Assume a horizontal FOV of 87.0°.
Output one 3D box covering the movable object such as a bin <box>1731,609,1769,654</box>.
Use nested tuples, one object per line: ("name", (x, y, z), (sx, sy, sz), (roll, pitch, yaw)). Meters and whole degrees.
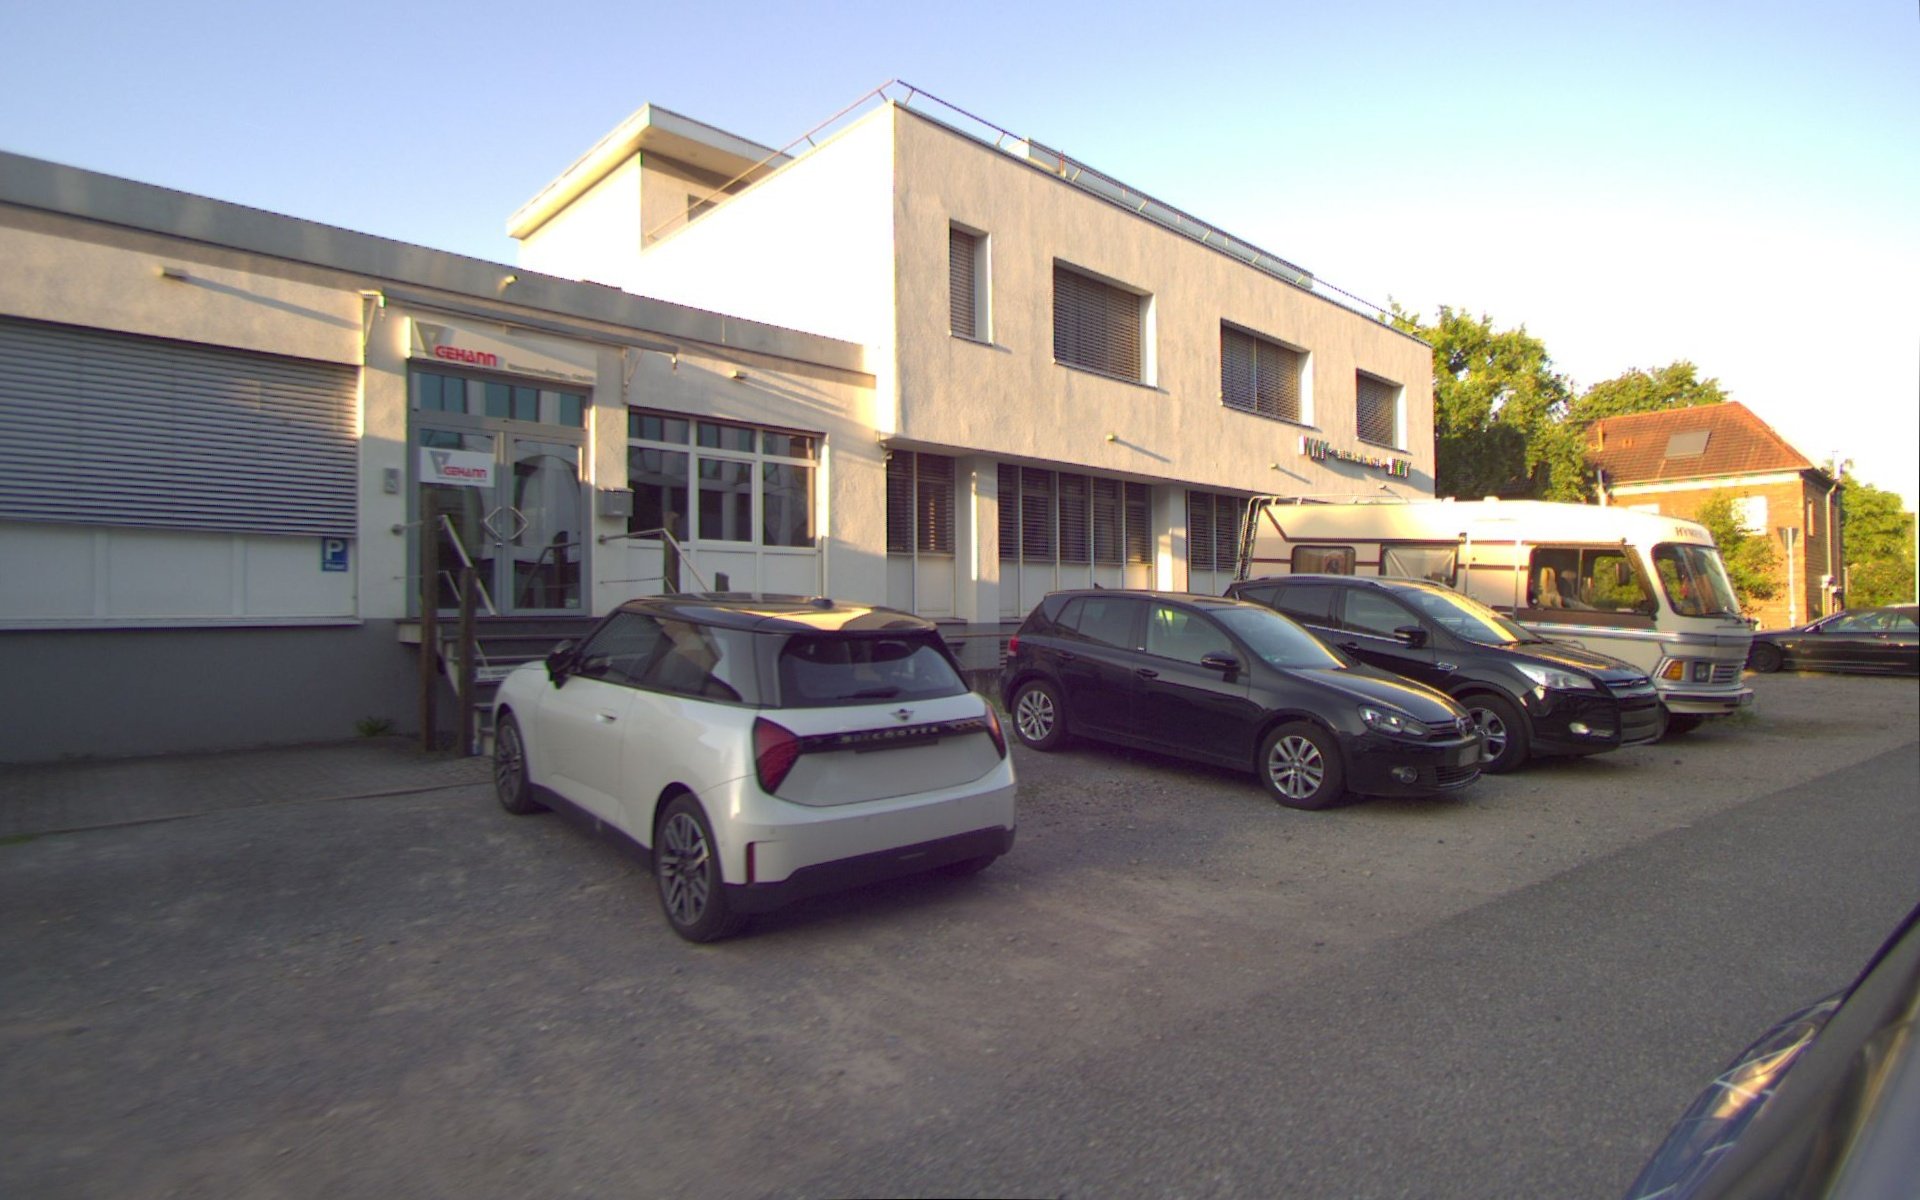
("movable object such as a bin", (18.778, 0.745, 24.046), (0.642, 1.034, 0.701), (-2, -1, 42))

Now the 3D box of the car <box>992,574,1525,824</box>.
("car", (2.266, 0.613, 8.476), (1.683, 1.583, 4.008), (0, 0, -43))

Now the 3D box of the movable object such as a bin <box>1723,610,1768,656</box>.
("movable object such as a bin", (18.267, 0.750, 23.535), (0.755, 1.034, 0.701), (-2, -1, 42))

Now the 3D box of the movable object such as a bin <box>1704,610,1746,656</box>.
("movable object such as a bin", (17.606, 0.754, 23.293), (0.704, 1.034, 0.701), (-2, -1, 42))

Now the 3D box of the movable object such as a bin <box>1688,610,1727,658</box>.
("movable object such as a bin", (16.486, 0.742, 22.316), (0.621, 1.034, 0.552), (-2, -1, 43))

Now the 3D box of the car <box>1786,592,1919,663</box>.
("car", (20.085, 0.565, 21.211), (1.863, 1.425, 4.062), (1, 0, -41))

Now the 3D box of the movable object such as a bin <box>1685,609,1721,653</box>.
("movable object such as a bin", (17.953, 0.745, 24.440), (0.643, 1.034, 0.439), (-2, -1, 43))

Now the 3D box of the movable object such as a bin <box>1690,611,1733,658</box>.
("movable object such as a bin", (16.913, 0.759, 22.770), (0.704, 1.034, 0.701), (-2, -1, 42))

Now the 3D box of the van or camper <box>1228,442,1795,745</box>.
("van or camper", (6.531, -0.098, 12.711), (2.443, 2.900, 5.791), (0, 1, -40))

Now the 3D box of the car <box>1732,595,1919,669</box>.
("car", (18.075, 0.587, 19.917), (1.863, 1.350, 4.322), (-1, 1, -41))

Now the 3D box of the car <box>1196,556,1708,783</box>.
("car", (4.648, 0.516, 10.191), (1.930, 1.763, 4.255), (0, 1, -34))

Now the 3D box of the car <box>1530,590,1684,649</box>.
("car", (21.018, 0.639, 32.961), (1.753, 1.789, 3.942), (2, -2, -44))

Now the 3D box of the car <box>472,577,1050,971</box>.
("car", (-1.390, 0.648, 5.820), (1.682, 1.497, 3.711), (0, 0, -40))
